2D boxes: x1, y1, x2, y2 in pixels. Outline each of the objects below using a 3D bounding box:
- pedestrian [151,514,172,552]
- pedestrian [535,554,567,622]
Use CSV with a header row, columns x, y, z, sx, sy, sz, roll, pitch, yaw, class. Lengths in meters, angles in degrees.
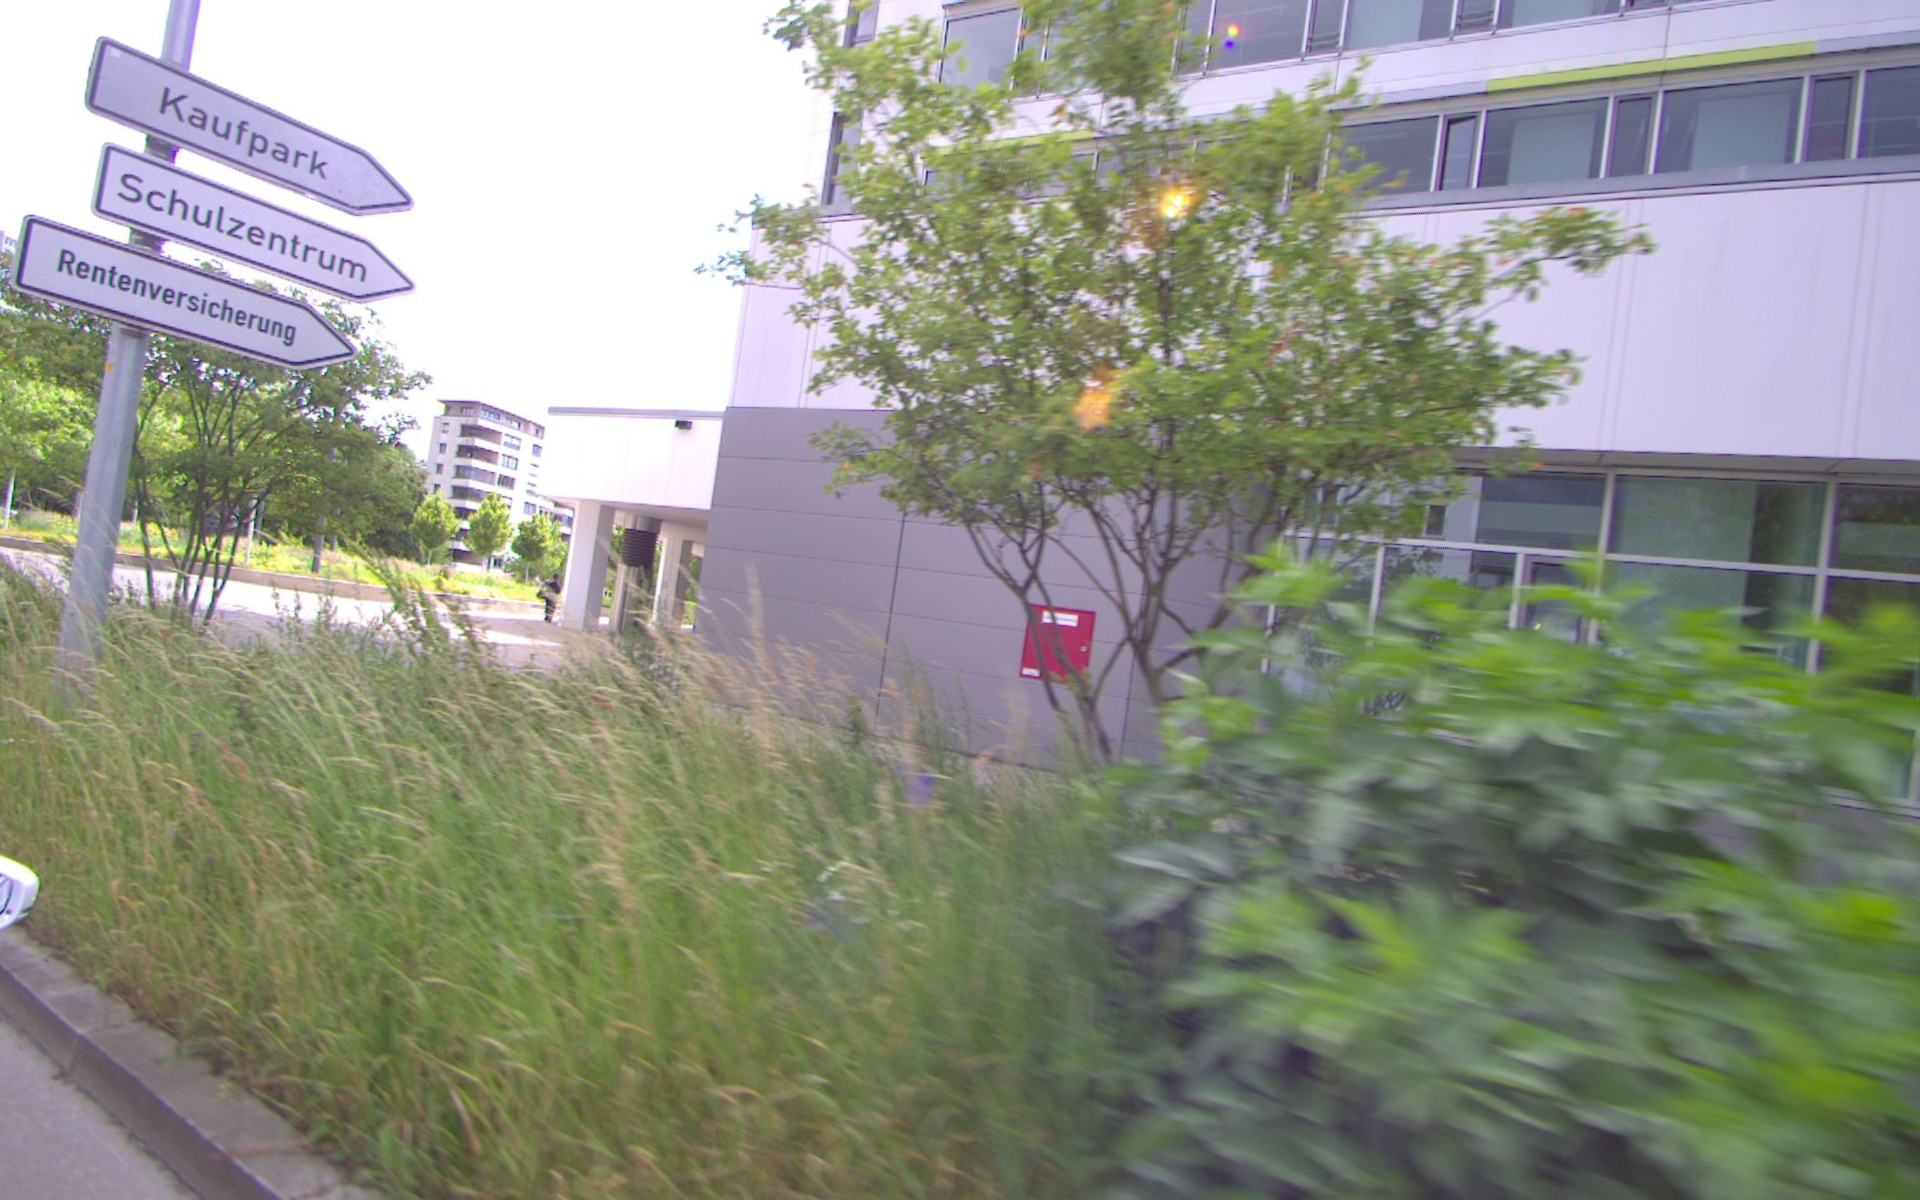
x,y,z,sx,sy,sz,roll,pitch,yaw,class
-43.821,-3.693,55.190,0.399,1.973,0.577,7,-1,29,pedestrian
-13.042,-0.365,32.091,0.685,2.034,0.606,7,-5,-20,pedestrian
